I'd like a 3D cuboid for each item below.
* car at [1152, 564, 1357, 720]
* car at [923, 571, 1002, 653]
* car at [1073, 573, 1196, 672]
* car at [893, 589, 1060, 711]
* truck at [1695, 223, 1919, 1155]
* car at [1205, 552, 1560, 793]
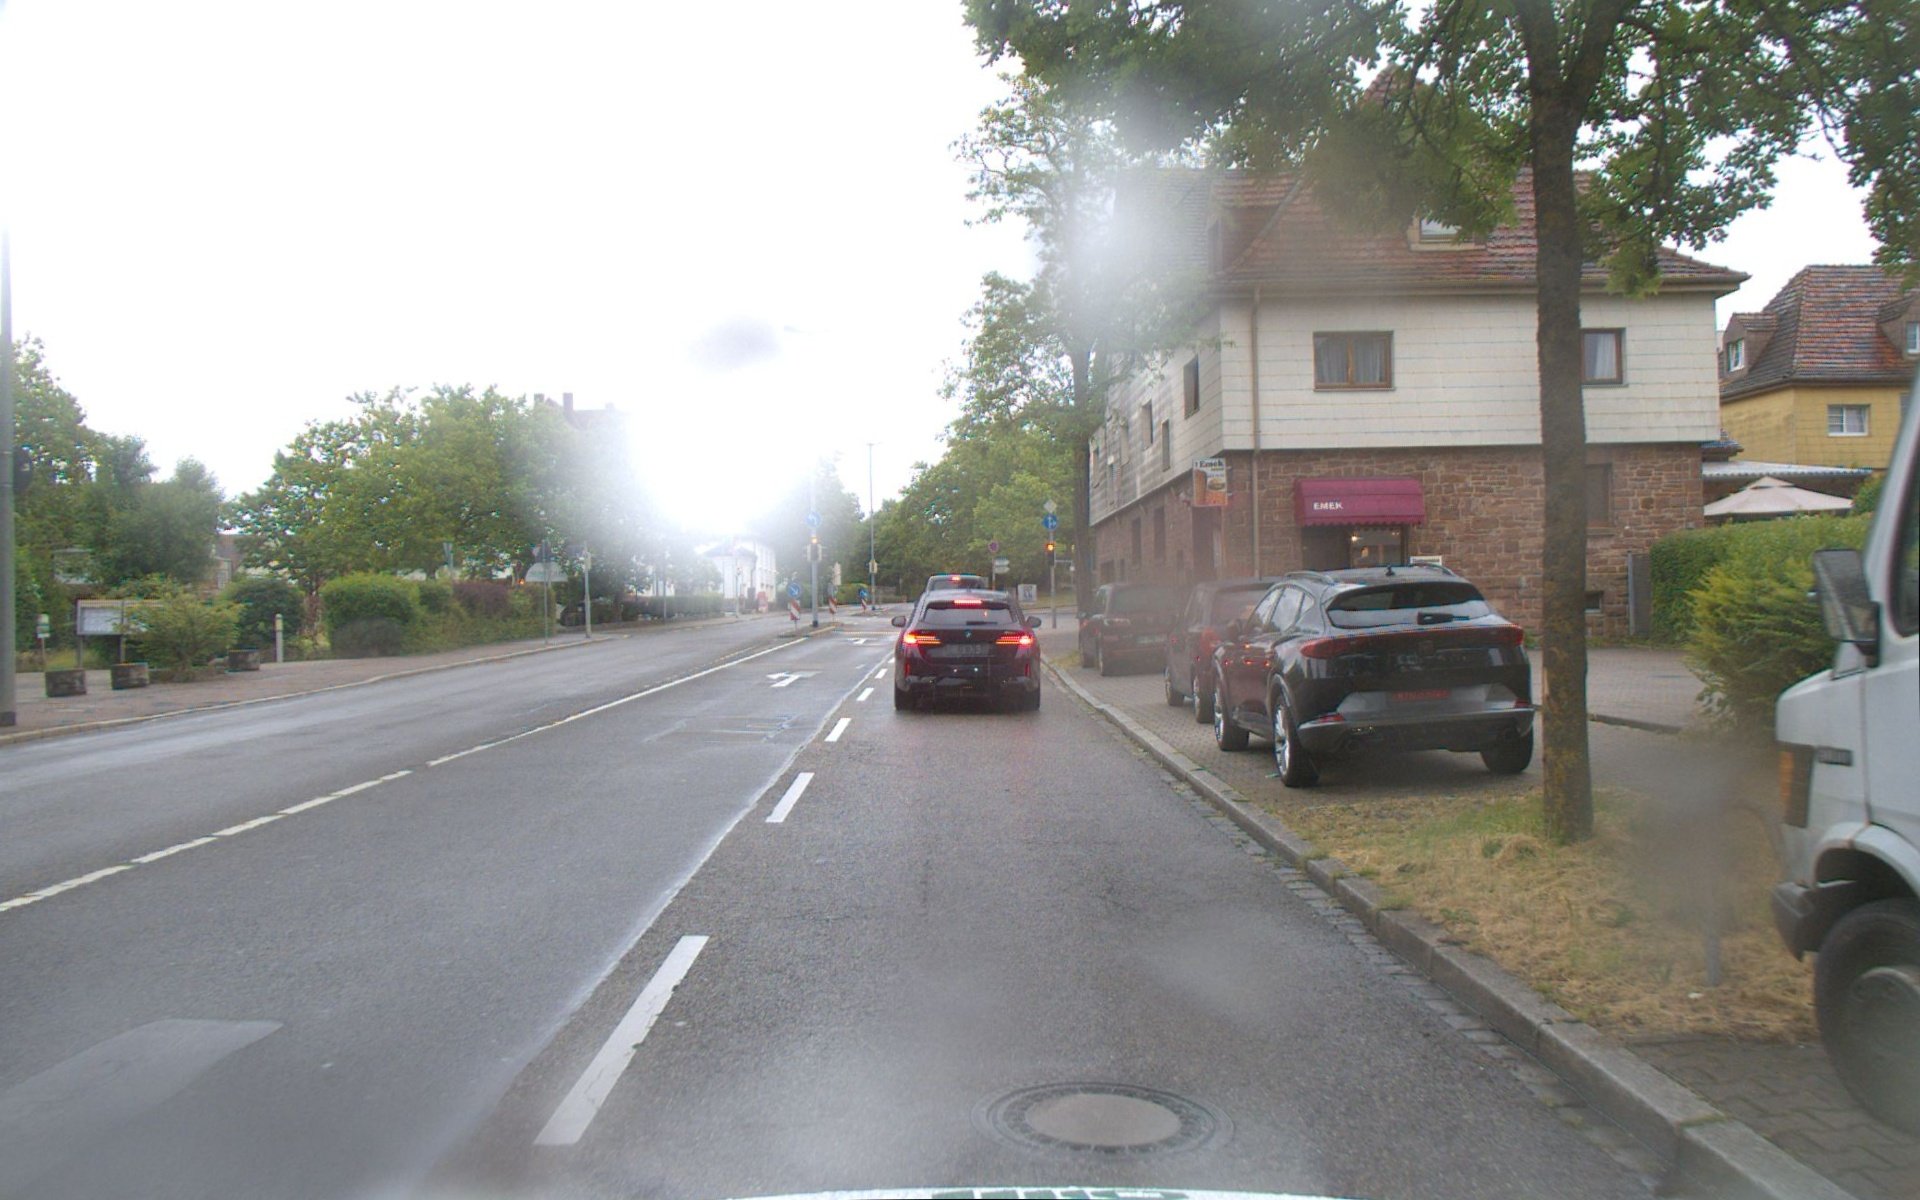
[{"bbox_3d":[3.262,0.423,18.981,1.572,1.497,3.856,-4,0,0],"label":"car"},{"bbox_3d":[0.013,0.263,39.562,1.748,1.849,3.999,0,0,-2],"label":"car"},{"bbox_3d":[2.957,0.342,28.713,1.552,1.516,3.626,-3,1,-2],"label":"car"},{"bbox_3d":[0.119,0.611,22.377,2.023,1.472,4.481,1,0,-2],"label":"car"},{"bbox_3d":[3.392,0.186,1.779,2.038,2.260,6.499,-3,0,-2],"label":"truck"},{"bbox_3d":[3.152,0.481,13.221,1.679,1.525,4.183,-3,0,0],"label":"car"}]
